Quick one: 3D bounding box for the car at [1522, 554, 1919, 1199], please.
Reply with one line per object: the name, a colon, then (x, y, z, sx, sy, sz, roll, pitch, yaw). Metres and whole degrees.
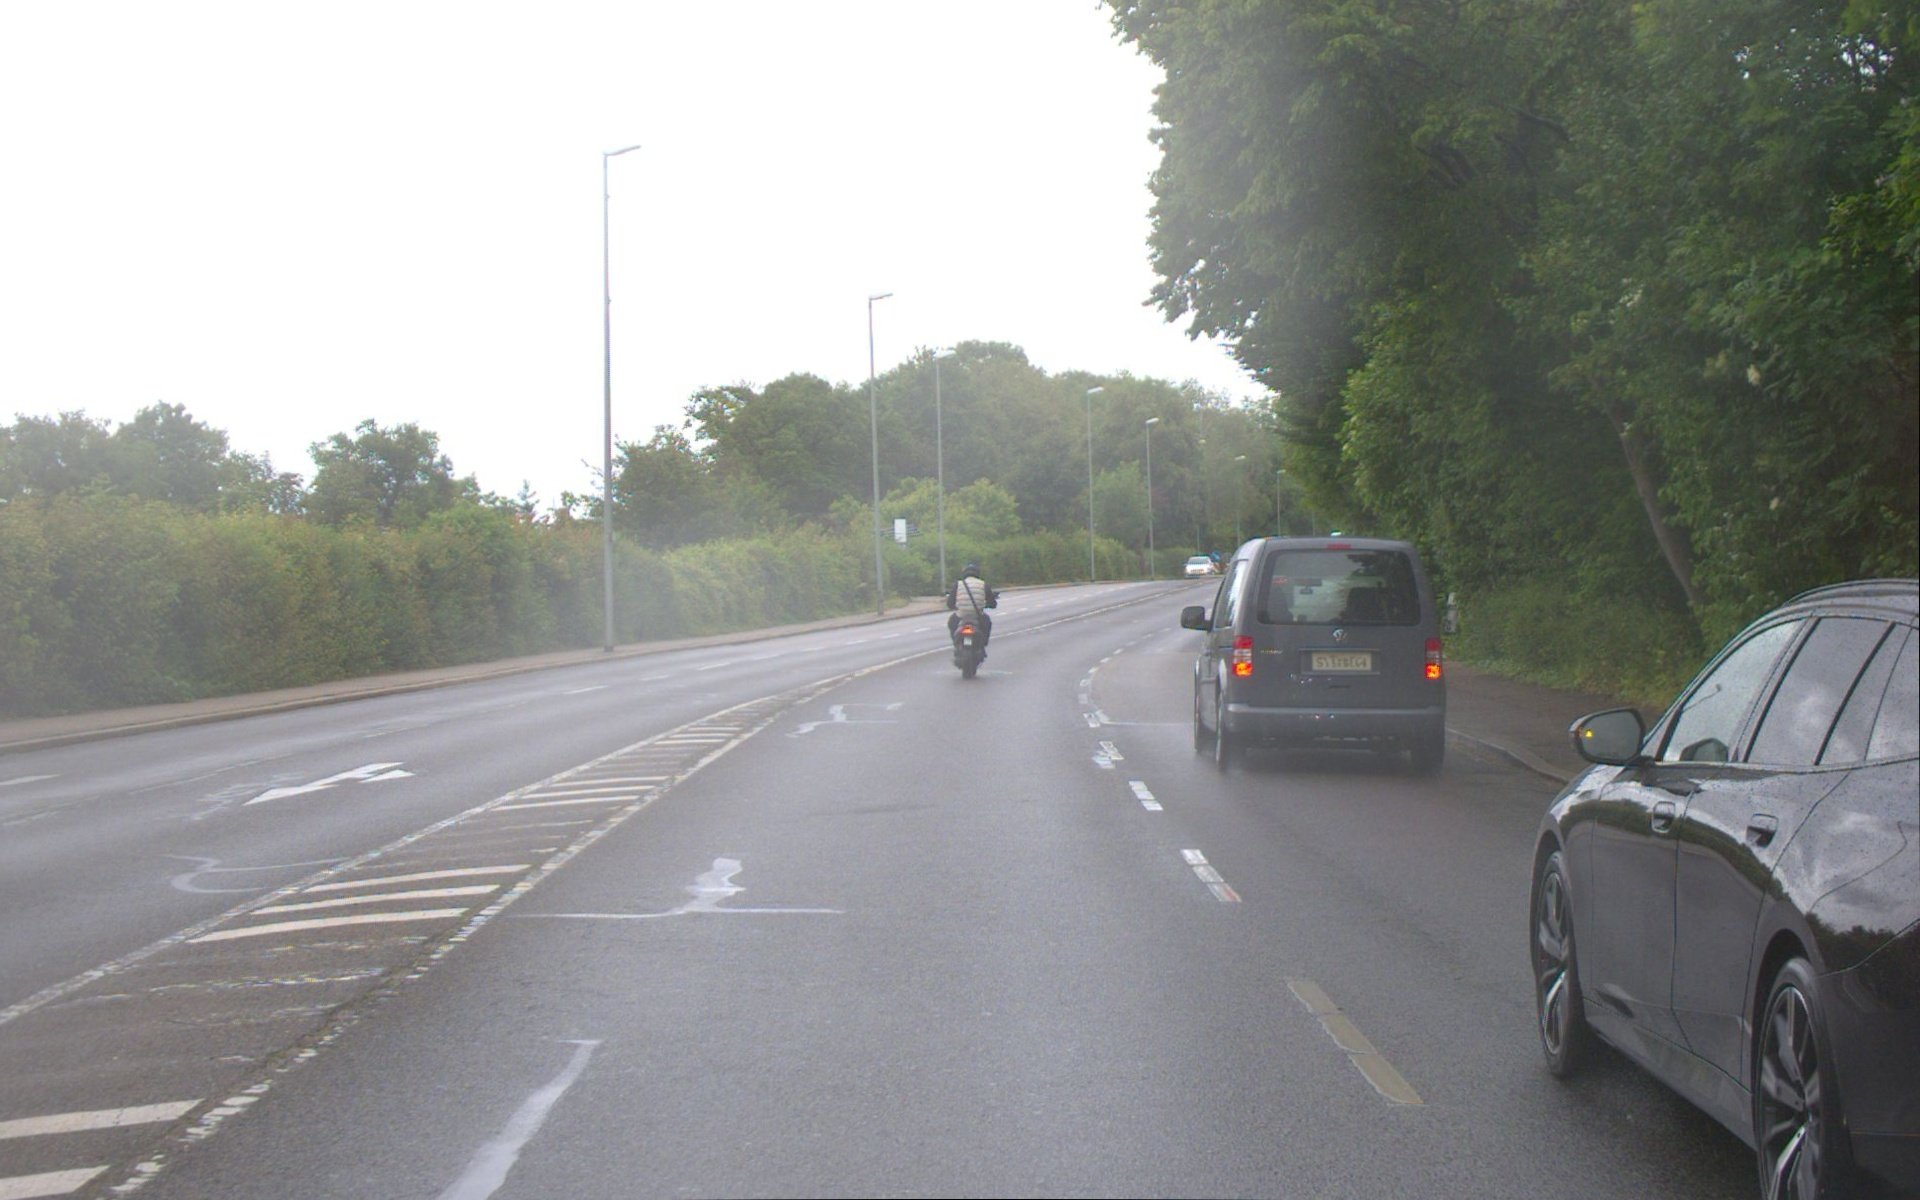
car: (2.573, 0.700, 8.093, 1.764, 1.531, 3.673, 2, 0, -2)

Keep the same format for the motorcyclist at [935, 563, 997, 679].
motorcyclist: (0.086, 0.294, 48.966, 0.845, 1.641, 0.468, 0, 2, 5)

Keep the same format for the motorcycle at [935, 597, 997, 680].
motorcycle: (0.096, 0.542, 49.012, 0.741, 1.115, 1.426, 1, 2, 6)

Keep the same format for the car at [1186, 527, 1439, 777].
car: (2.767, 0.349, 27.716, 1.767, 1.803, 3.905, 0, 2, 2)

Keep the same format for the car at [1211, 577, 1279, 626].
car: (9.310, 0.039, 112.097, 2.015, 1.410, 4.485, 1, 2, 7)
